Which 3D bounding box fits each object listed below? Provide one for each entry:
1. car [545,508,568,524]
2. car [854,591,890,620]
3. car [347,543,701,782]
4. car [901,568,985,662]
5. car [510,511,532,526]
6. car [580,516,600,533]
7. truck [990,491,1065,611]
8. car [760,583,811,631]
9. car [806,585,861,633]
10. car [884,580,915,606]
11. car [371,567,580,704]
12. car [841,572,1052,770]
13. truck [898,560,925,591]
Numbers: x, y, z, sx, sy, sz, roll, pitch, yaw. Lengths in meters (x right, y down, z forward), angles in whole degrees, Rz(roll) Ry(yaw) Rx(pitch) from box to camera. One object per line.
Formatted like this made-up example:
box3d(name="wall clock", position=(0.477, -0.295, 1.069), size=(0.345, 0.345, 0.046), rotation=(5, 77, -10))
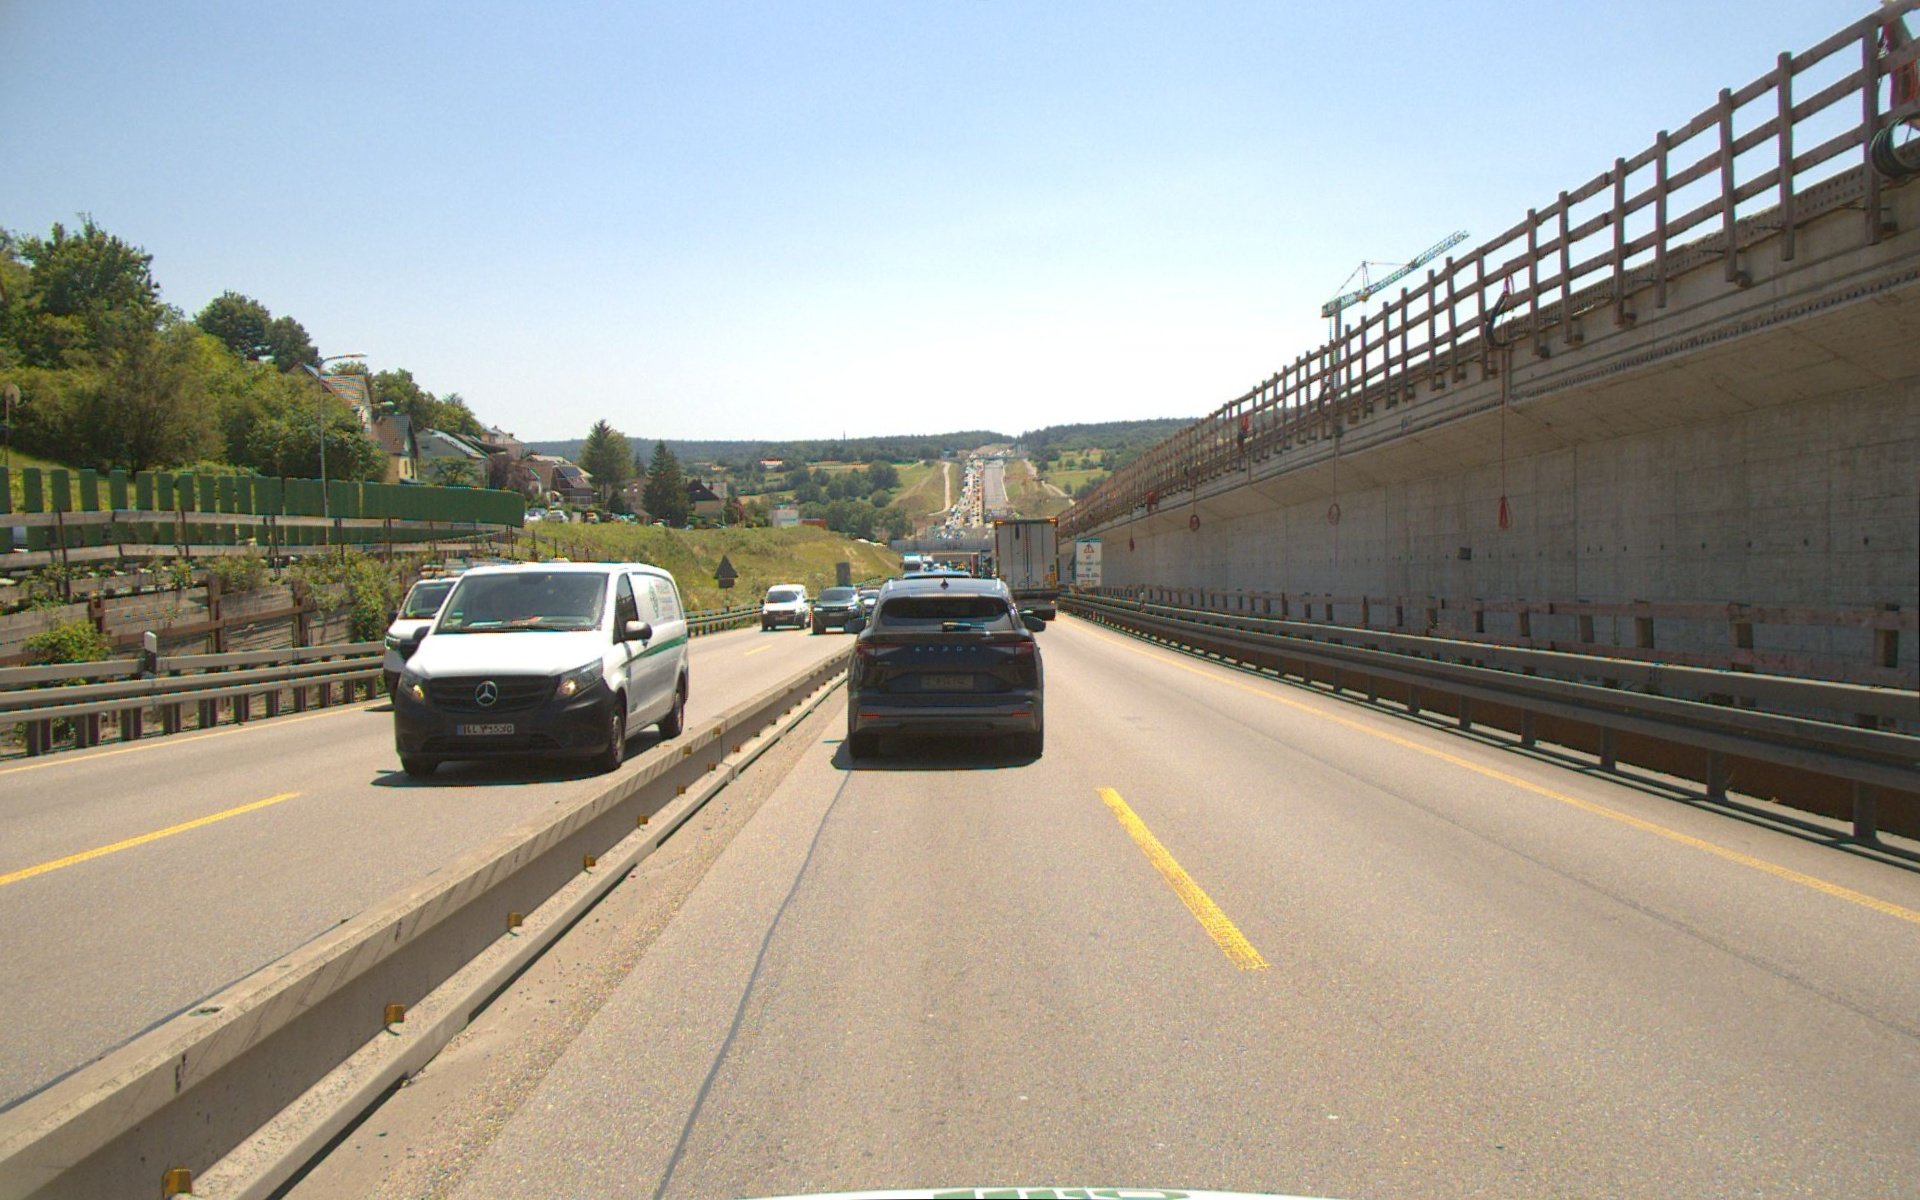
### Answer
box3d(name="car", position=(-40.621, -8.495, 166.571), size=(1.958, 1.343, 3.990), rotation=(1, 0, -11))
box3d(name="car", position=(-4.487, 0.273, 84.645), size=(1.697, 1.463, 4.257), rotation=(0, 0, -1))
box3d(name="car", position=(-3.987, 0.517, 16.211), size=(2.113, 1.939, 5.325), rotation=(0, 0, -1))
box3d(name="car", position=(-0.415, 0.291, 35.827), size=(1.714, 1.928, 3.753), rotation=(0, 0, -2))
box3d(name="car", position=(-37.014, -6.889, 139.564), size=(1.255, 1.057, 3.271), rotation=(-2, 1, -6))
box3d(name="car", position=(-41.673, -8.492, 186.419), size=(1.890, 1.758, 3.990), rotation=(-2, 1, -10))
box3d(name="truck", position=(2.795, -1.926, 71.776), size=(2.787, 4.696, 11.811), rotation=(-1, 0, 0))
box3d(name="car", position=(-7.179, 0.292, 68.367), size=(1.564, 1.866, 4.752), rotation=(-2, 0, 0))
box3d(name="car", position=(-4.569, 0.287, 60.245), size=(1.738, 1.662, 4.099), rotation=(-1, 0, -1))
box3d(name="car", position=(-3.861, -0.448, 106.442), size=(1.573, 1.471, 4.671), rotation=(-4, -1, 2))
box3d(name="car", position=(-7.611, 0.492, 26.552), size=(1.787, 1.959, 5.243), rotation=(0, 0, 0))
box3d(name="car", position=(-0.146, 0.597, 16.037), size=(1.746, 1.625, 3.754), rotation=(-2, 0, -1))
box3d(name="truck", position=(-7.002, -3.565, 240.228), size=(3.121, 4.312, 6.473), rotation=(-2, 0, -8))
